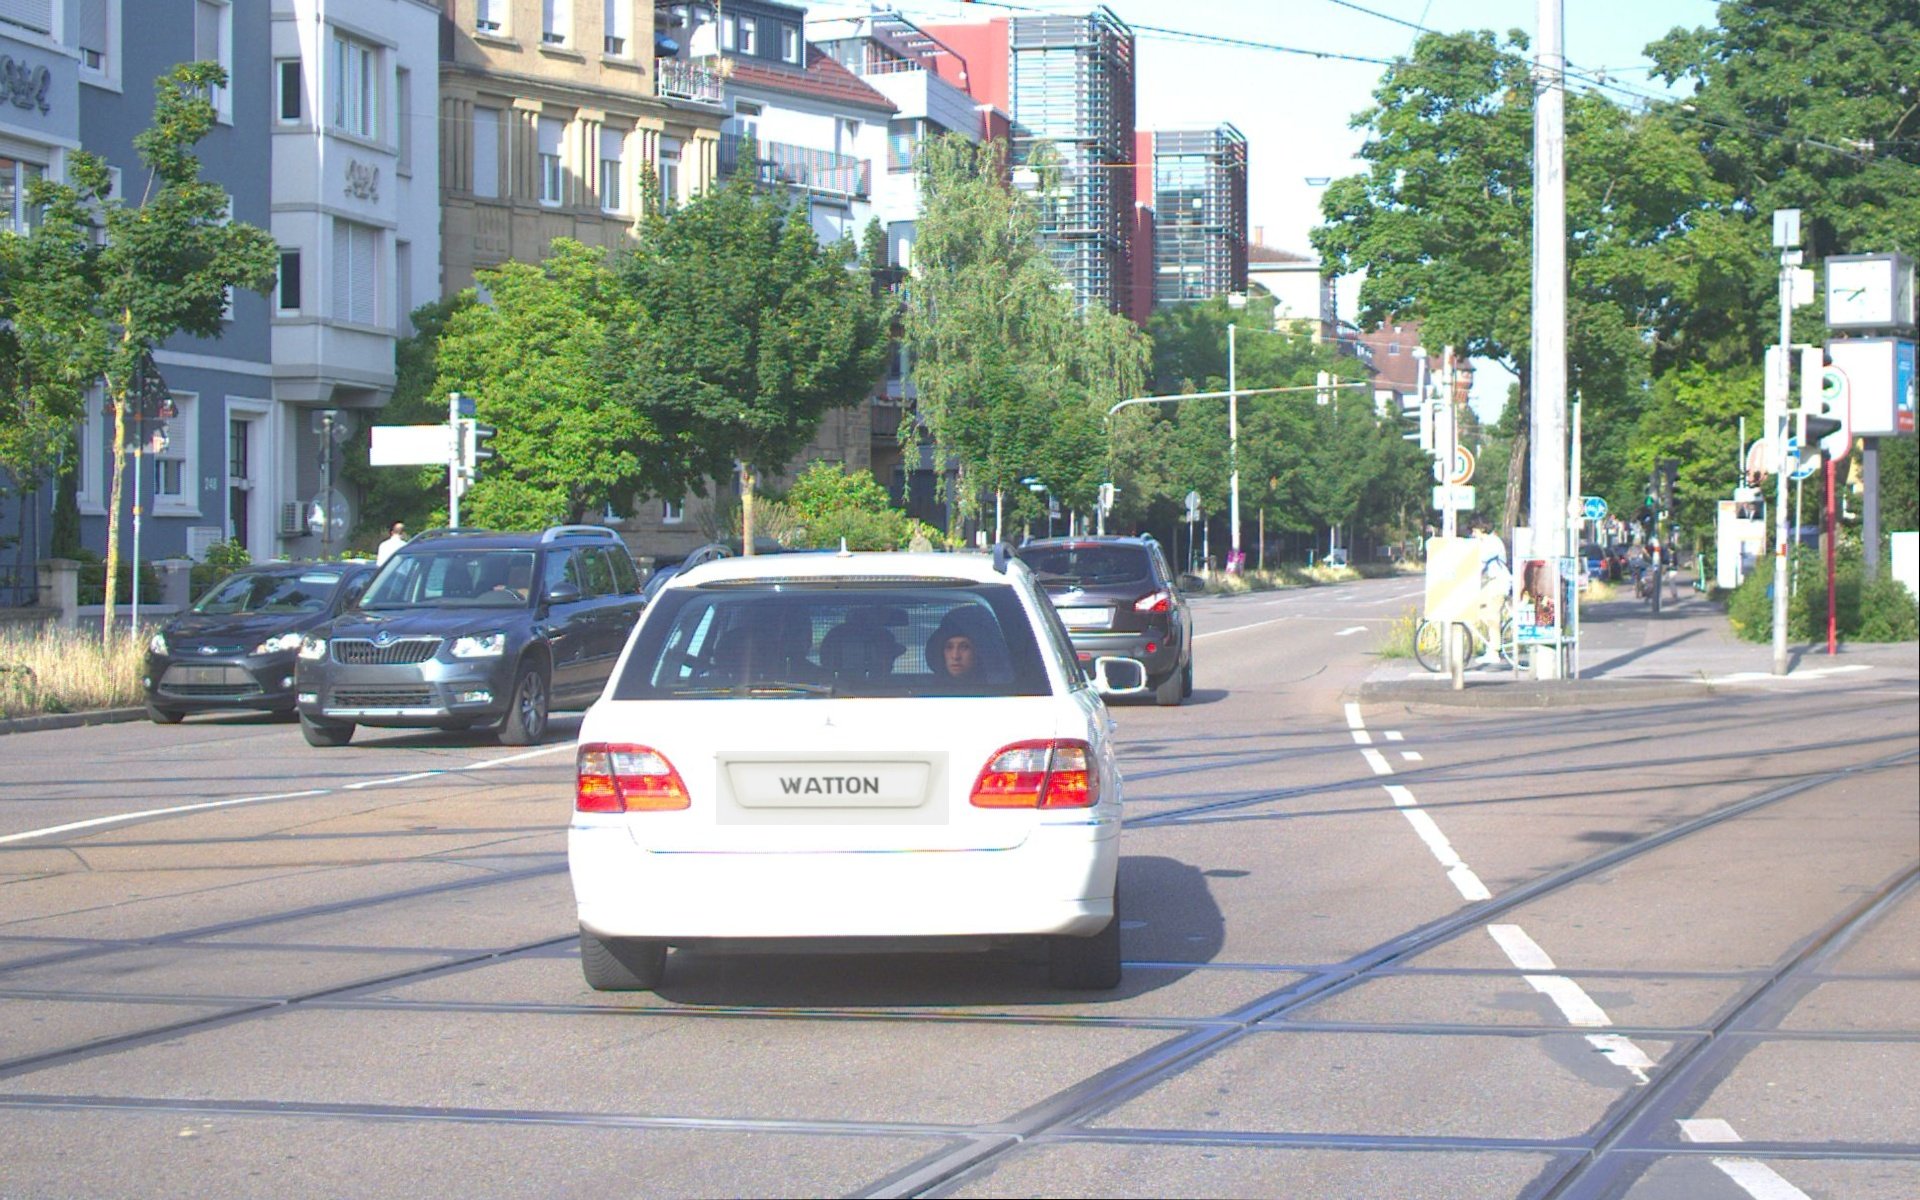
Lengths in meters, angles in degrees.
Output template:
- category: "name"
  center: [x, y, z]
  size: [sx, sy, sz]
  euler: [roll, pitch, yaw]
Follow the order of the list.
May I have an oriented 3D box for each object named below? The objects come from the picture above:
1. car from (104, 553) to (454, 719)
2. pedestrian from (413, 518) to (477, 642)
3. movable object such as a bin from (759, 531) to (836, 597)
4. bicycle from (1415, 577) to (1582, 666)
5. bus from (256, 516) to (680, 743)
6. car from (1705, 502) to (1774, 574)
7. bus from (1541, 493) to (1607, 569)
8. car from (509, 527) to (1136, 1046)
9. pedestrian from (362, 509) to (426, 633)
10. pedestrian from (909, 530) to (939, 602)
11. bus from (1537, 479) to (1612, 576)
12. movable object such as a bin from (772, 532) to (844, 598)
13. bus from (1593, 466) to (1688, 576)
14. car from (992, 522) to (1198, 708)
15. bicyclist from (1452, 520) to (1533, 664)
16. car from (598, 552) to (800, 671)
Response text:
- category: "car"
  center: [-6.160, 0.287, 31.571]
  size: [1.690, 1.415, 3.998]
  euler: [0, 1, 13]
- category: "pedestrian"
  center: [-7.340, -0.296, 49.032]
  size: [0.638, 1.745, 0.911]
  euler: [0, 1, 10]
- category: "movable object such as a bin"
  center: [-3.484, -0.777, 73.948]
  size: [1.603, 1.416, 1.084]
  euler: [0, 1, 0]
- category: "bicycle"
  center: [6.405, 0.256, 40.979]
  size: [1.914, 0.991, 0.726]
  euler: [-2, 1, 7]
- category: "bus"
  center: [-3.734, 0.165, 26.879]
  size: [1.845, 1.630, 4.156]
  euler: [0, 1, 14]
- category: "car"
  center: [20.826, -1.652, 91.793]
  size: [1.747, 1.867, 3.998]
  euler: [1, 1, 13]
- category: "bus"
  center: [19.772, -2.214, 110.851]
  size: [1.798, 2.325, 3.999]
  euler: [3, 1, 7]
- category: "car"
  center: [-0.323, 0.520, 12.235]
  size: [1.835, 1.496, 3.815]
  euler: [2, 1, 3]
- category: "pedestrian"
  center: [-8.094, -0.421, 49.222]
  size: [0.638, 1.745, 0.911]
  euler: [0, 1, 10]
- category: "pedestrian"
  center: [-0.866, -0.831, 83.198]
  size: [0.638, 1.745, 0.607]
  euler: [0, 1, 10]
- category: "bus"
  center: [17.080, -1.993, 95.642]
  size: [1.798, 2.546, 3.999]
  euler: [3, 1, 8]
- category: "movable object such as a bin"
  center: [-3.315, -0.771, 75.087]
  size: [1.533, 1.416, 1.084]
  euler: [0, 1, 0]
- category: "bus"
  center: [15.777, -1.802, 79.849]
  size: [1.798, 2.404, 3.999]
  euler: [3, 1, 8]
- category: "car"
  center: [1.326, 0.096, 32.463]
  size: [1.642, 1.594, 3.814]
  euler: [2, 1, 6]
- category: "bicyclist"
  center: [6.338, -0.101, 40.980]
  size: [0.899, 1.693, 0.732]
  euler: [-1, 1, 7]
- category: "car"
  center: [-3.375, 0.117, 45.087]
  size: [1.690, 1.436, 3.999]
  euler: [0, 1, 10]
